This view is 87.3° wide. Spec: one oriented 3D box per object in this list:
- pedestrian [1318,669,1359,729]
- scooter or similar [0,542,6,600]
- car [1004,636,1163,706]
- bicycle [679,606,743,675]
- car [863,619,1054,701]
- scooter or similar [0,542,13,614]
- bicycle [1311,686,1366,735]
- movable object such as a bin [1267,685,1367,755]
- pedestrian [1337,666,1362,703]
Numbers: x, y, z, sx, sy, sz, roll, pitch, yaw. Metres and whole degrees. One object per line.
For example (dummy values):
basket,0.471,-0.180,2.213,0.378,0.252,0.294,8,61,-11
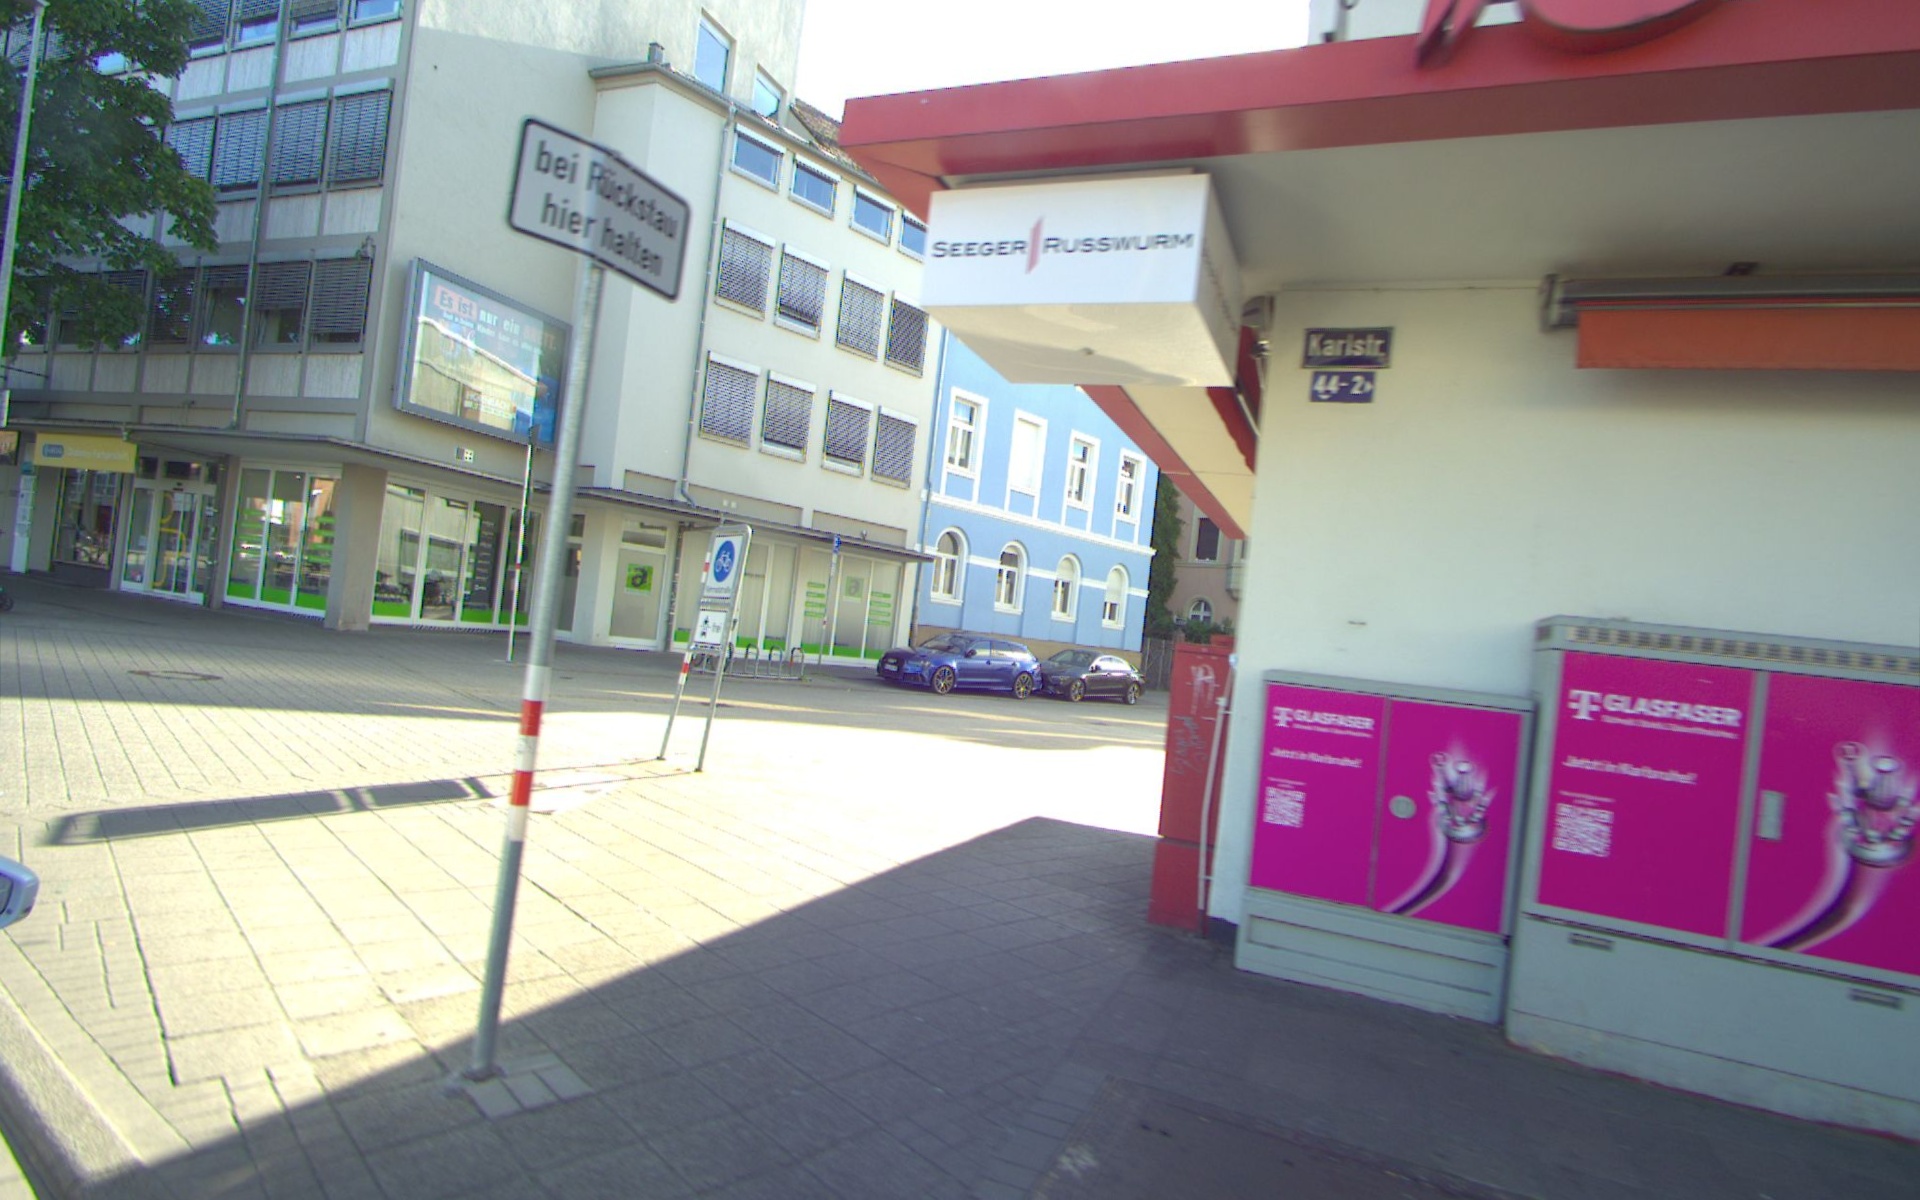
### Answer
pedestrian,9.758,2.548,25.919,0.669,1.438,0.558,8,2,-42
scooter or similar,-14.779,-0.380,14.838,0.157,1.052,0.958,6,-1,28
car,3.656,2.088,29.140,4.801,1.450,1.858,9,1,-45
bicycle,-5.161,0.822,20.820,1.482,1.174,0.440,10,2,45
car,0.056,1.564,25.534,4.801,1.450,1.858,9,1,-45
scooter or similar,-14.607,-0.364,14.748,0.157,1.056,0.966,6,-1,28
bicycle,9.771,2.860,25.946,1.535,1.100,0.552,9,1,-42
movable object such as a bin,7.899,2.649,22.230,1.641,1.304,1.401,8,-2,-44
pedestrian,18.366,4.003,47.411,0.743,1.634,0.800,5,-1,38
